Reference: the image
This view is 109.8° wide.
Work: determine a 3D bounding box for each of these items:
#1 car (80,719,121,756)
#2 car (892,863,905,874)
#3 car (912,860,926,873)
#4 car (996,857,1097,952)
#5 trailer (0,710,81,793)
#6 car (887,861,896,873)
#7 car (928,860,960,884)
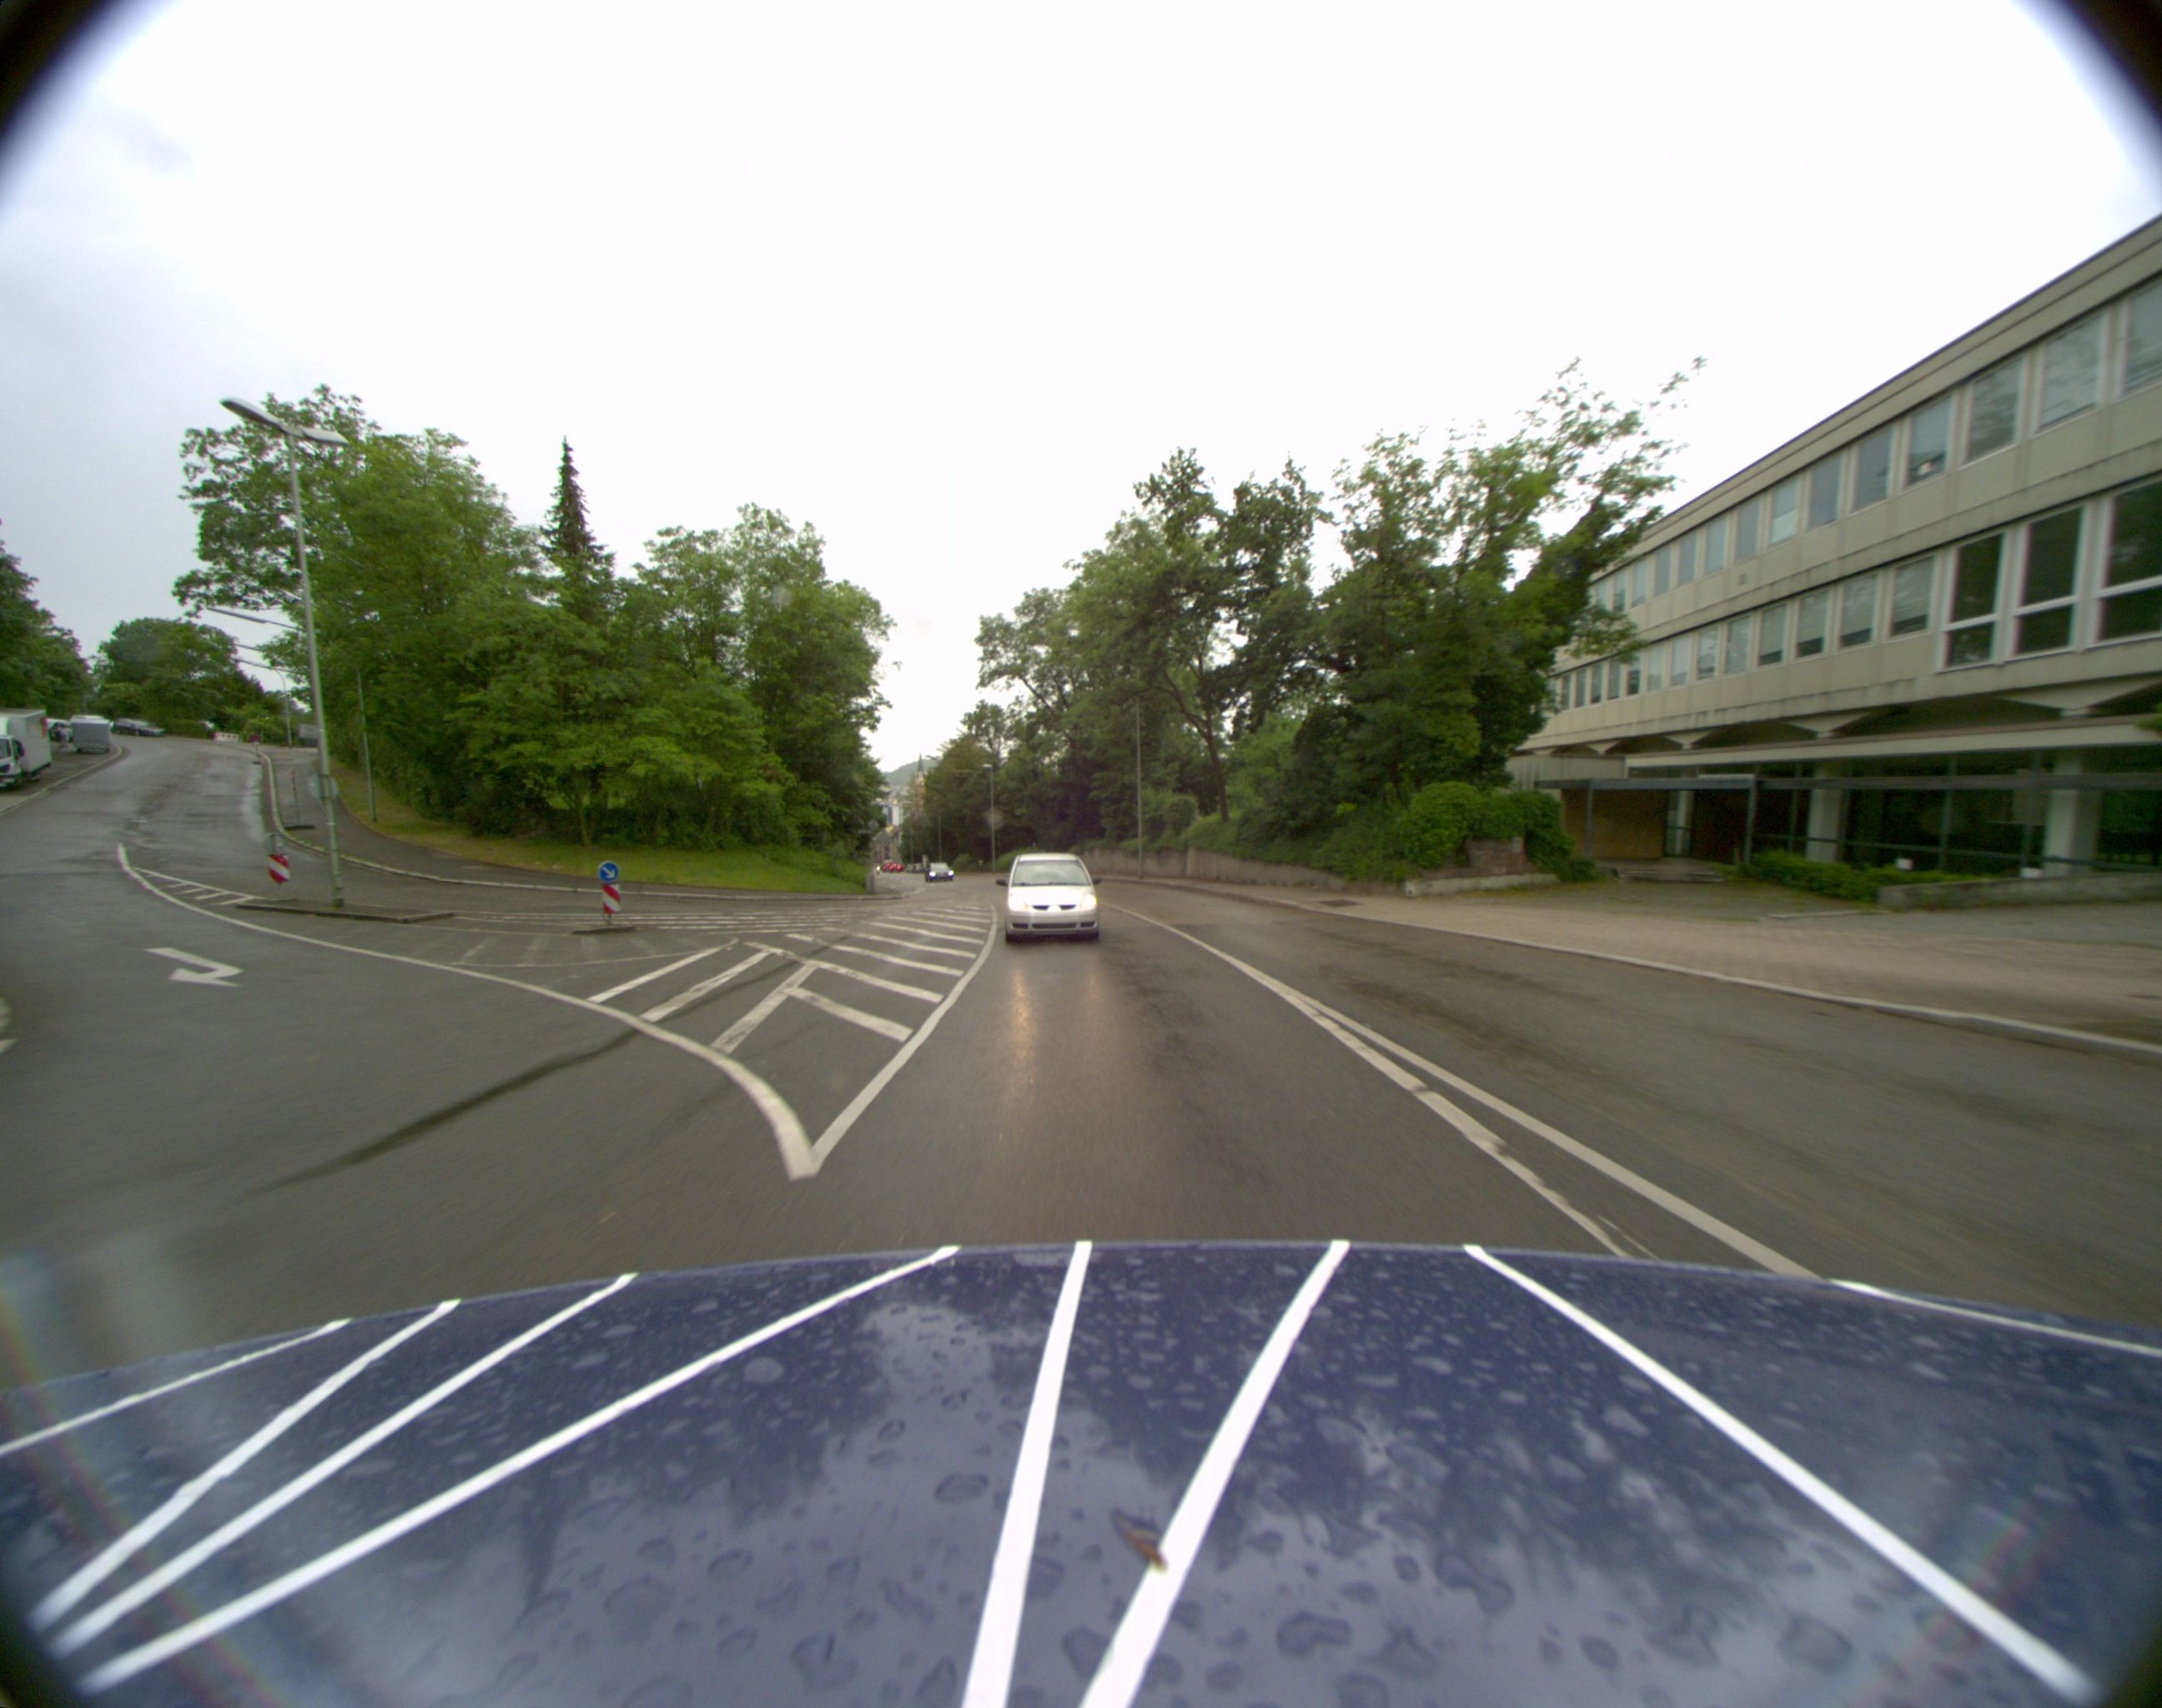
[{"bbox_3d":[-69.630,-8.227,53.965,3.879,2.002,1.713,0,1,38],"label":"car"},{"bbox_3d":[-31.726,2.495,132.147,2.001,1.805,3.994,-2,1,-16],"label":"car"},{"bbox_3d":[-28.705,2.201,134.427,2.001,2.242,3.994,-2,1,-16],"label":"car"},{"bbox_3d":[-0.536,0.859,14.806,1.640,1.496,4.000,-2,1,1],"label":"car"},{"bbox_3d":[-50.008,-4.905,35.621,2.283,3.285,7.997,0,9,-42],"label":"trailer"},{"bbox_3d":[-35.895,2.456,144.037,1.510,2.002,3.995,-2,1,-15],"label":"car"},{"bbox_3d":[-10.837,1.395,59.904,2.038,1.691,3.994,-2,0,-16],"label":"car"}]
